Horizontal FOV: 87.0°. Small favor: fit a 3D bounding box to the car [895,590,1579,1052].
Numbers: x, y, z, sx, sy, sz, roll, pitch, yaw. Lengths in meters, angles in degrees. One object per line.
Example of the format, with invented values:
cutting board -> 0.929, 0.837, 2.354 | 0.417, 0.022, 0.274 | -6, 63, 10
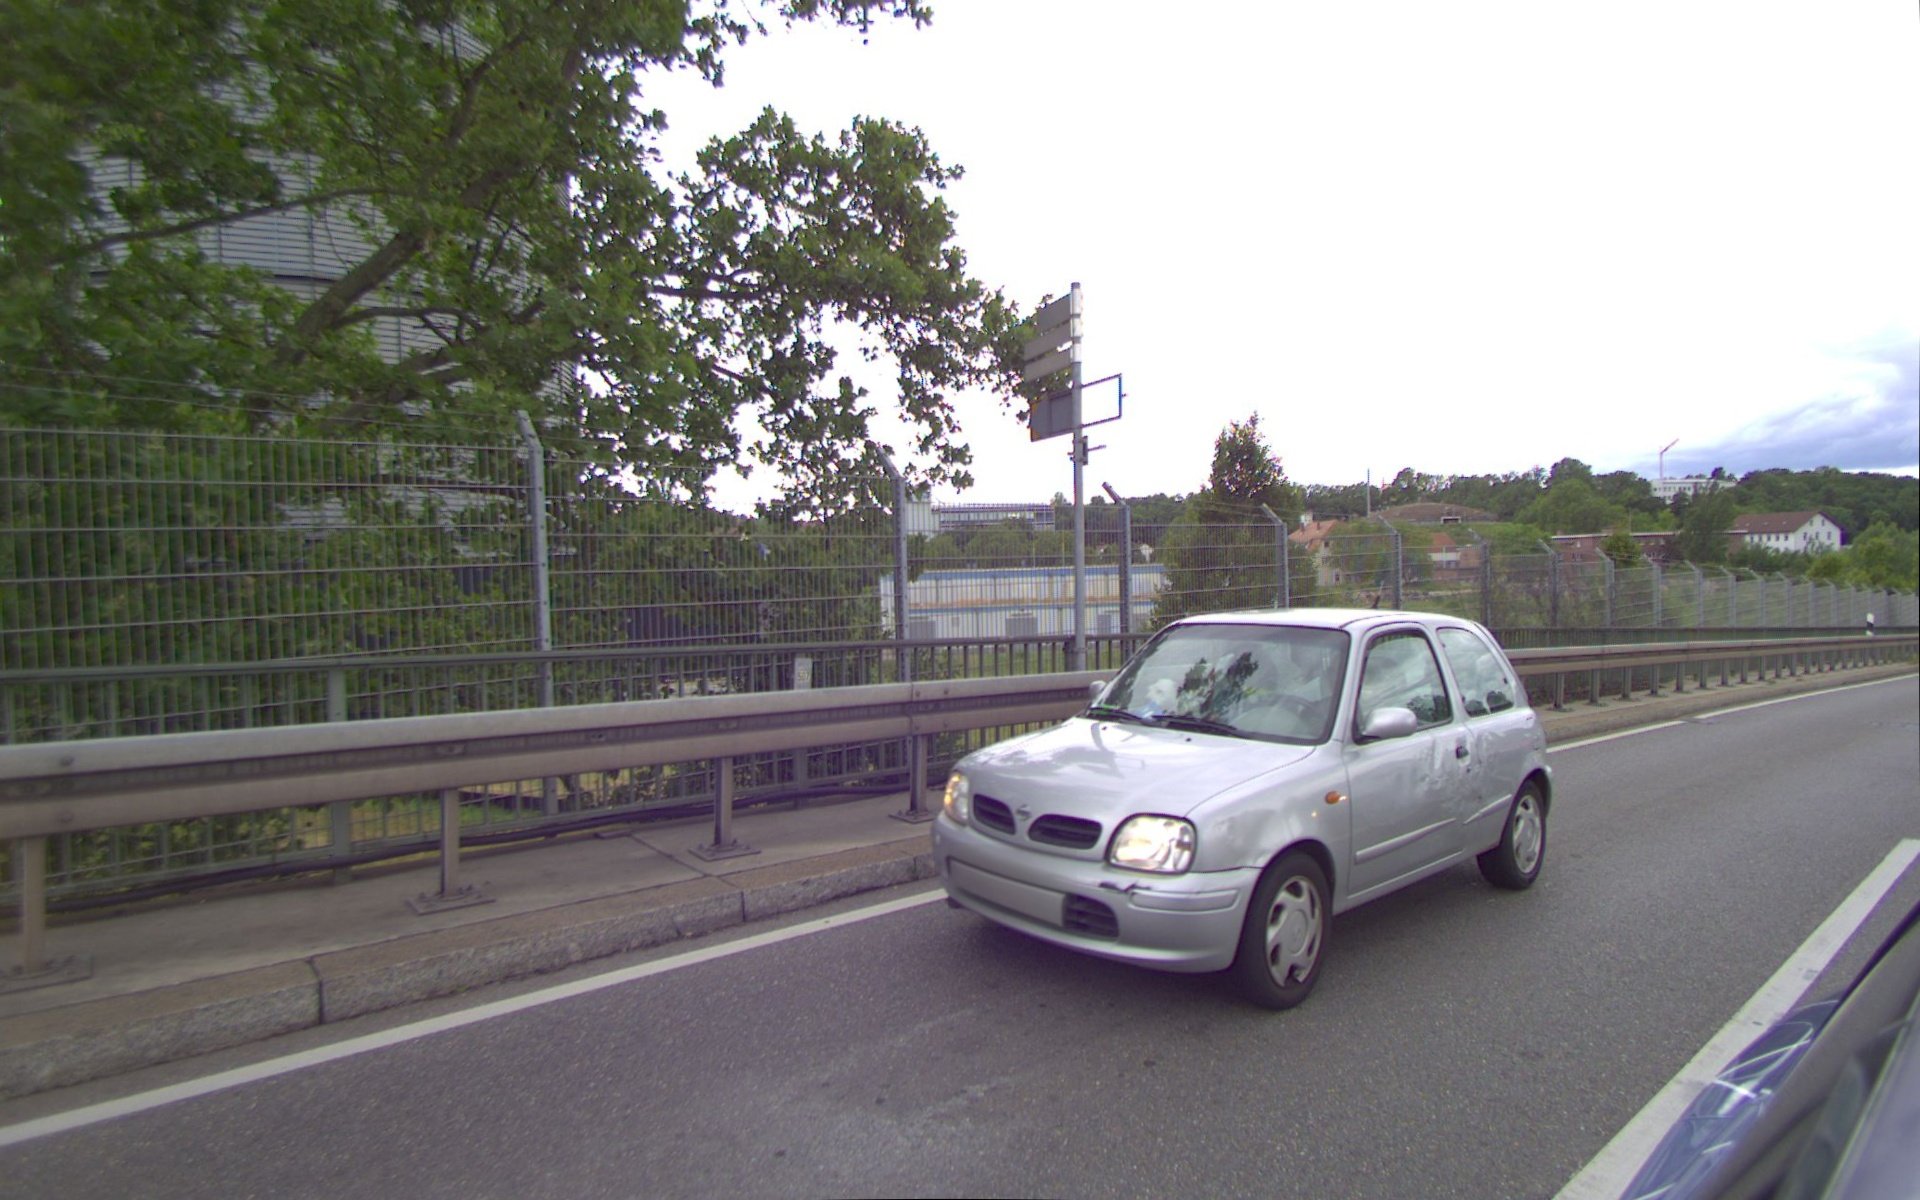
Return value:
car -> 1.509, 0.684, 4.913 | 3.382, 1.449, 1.588 | -1, 1, -40
